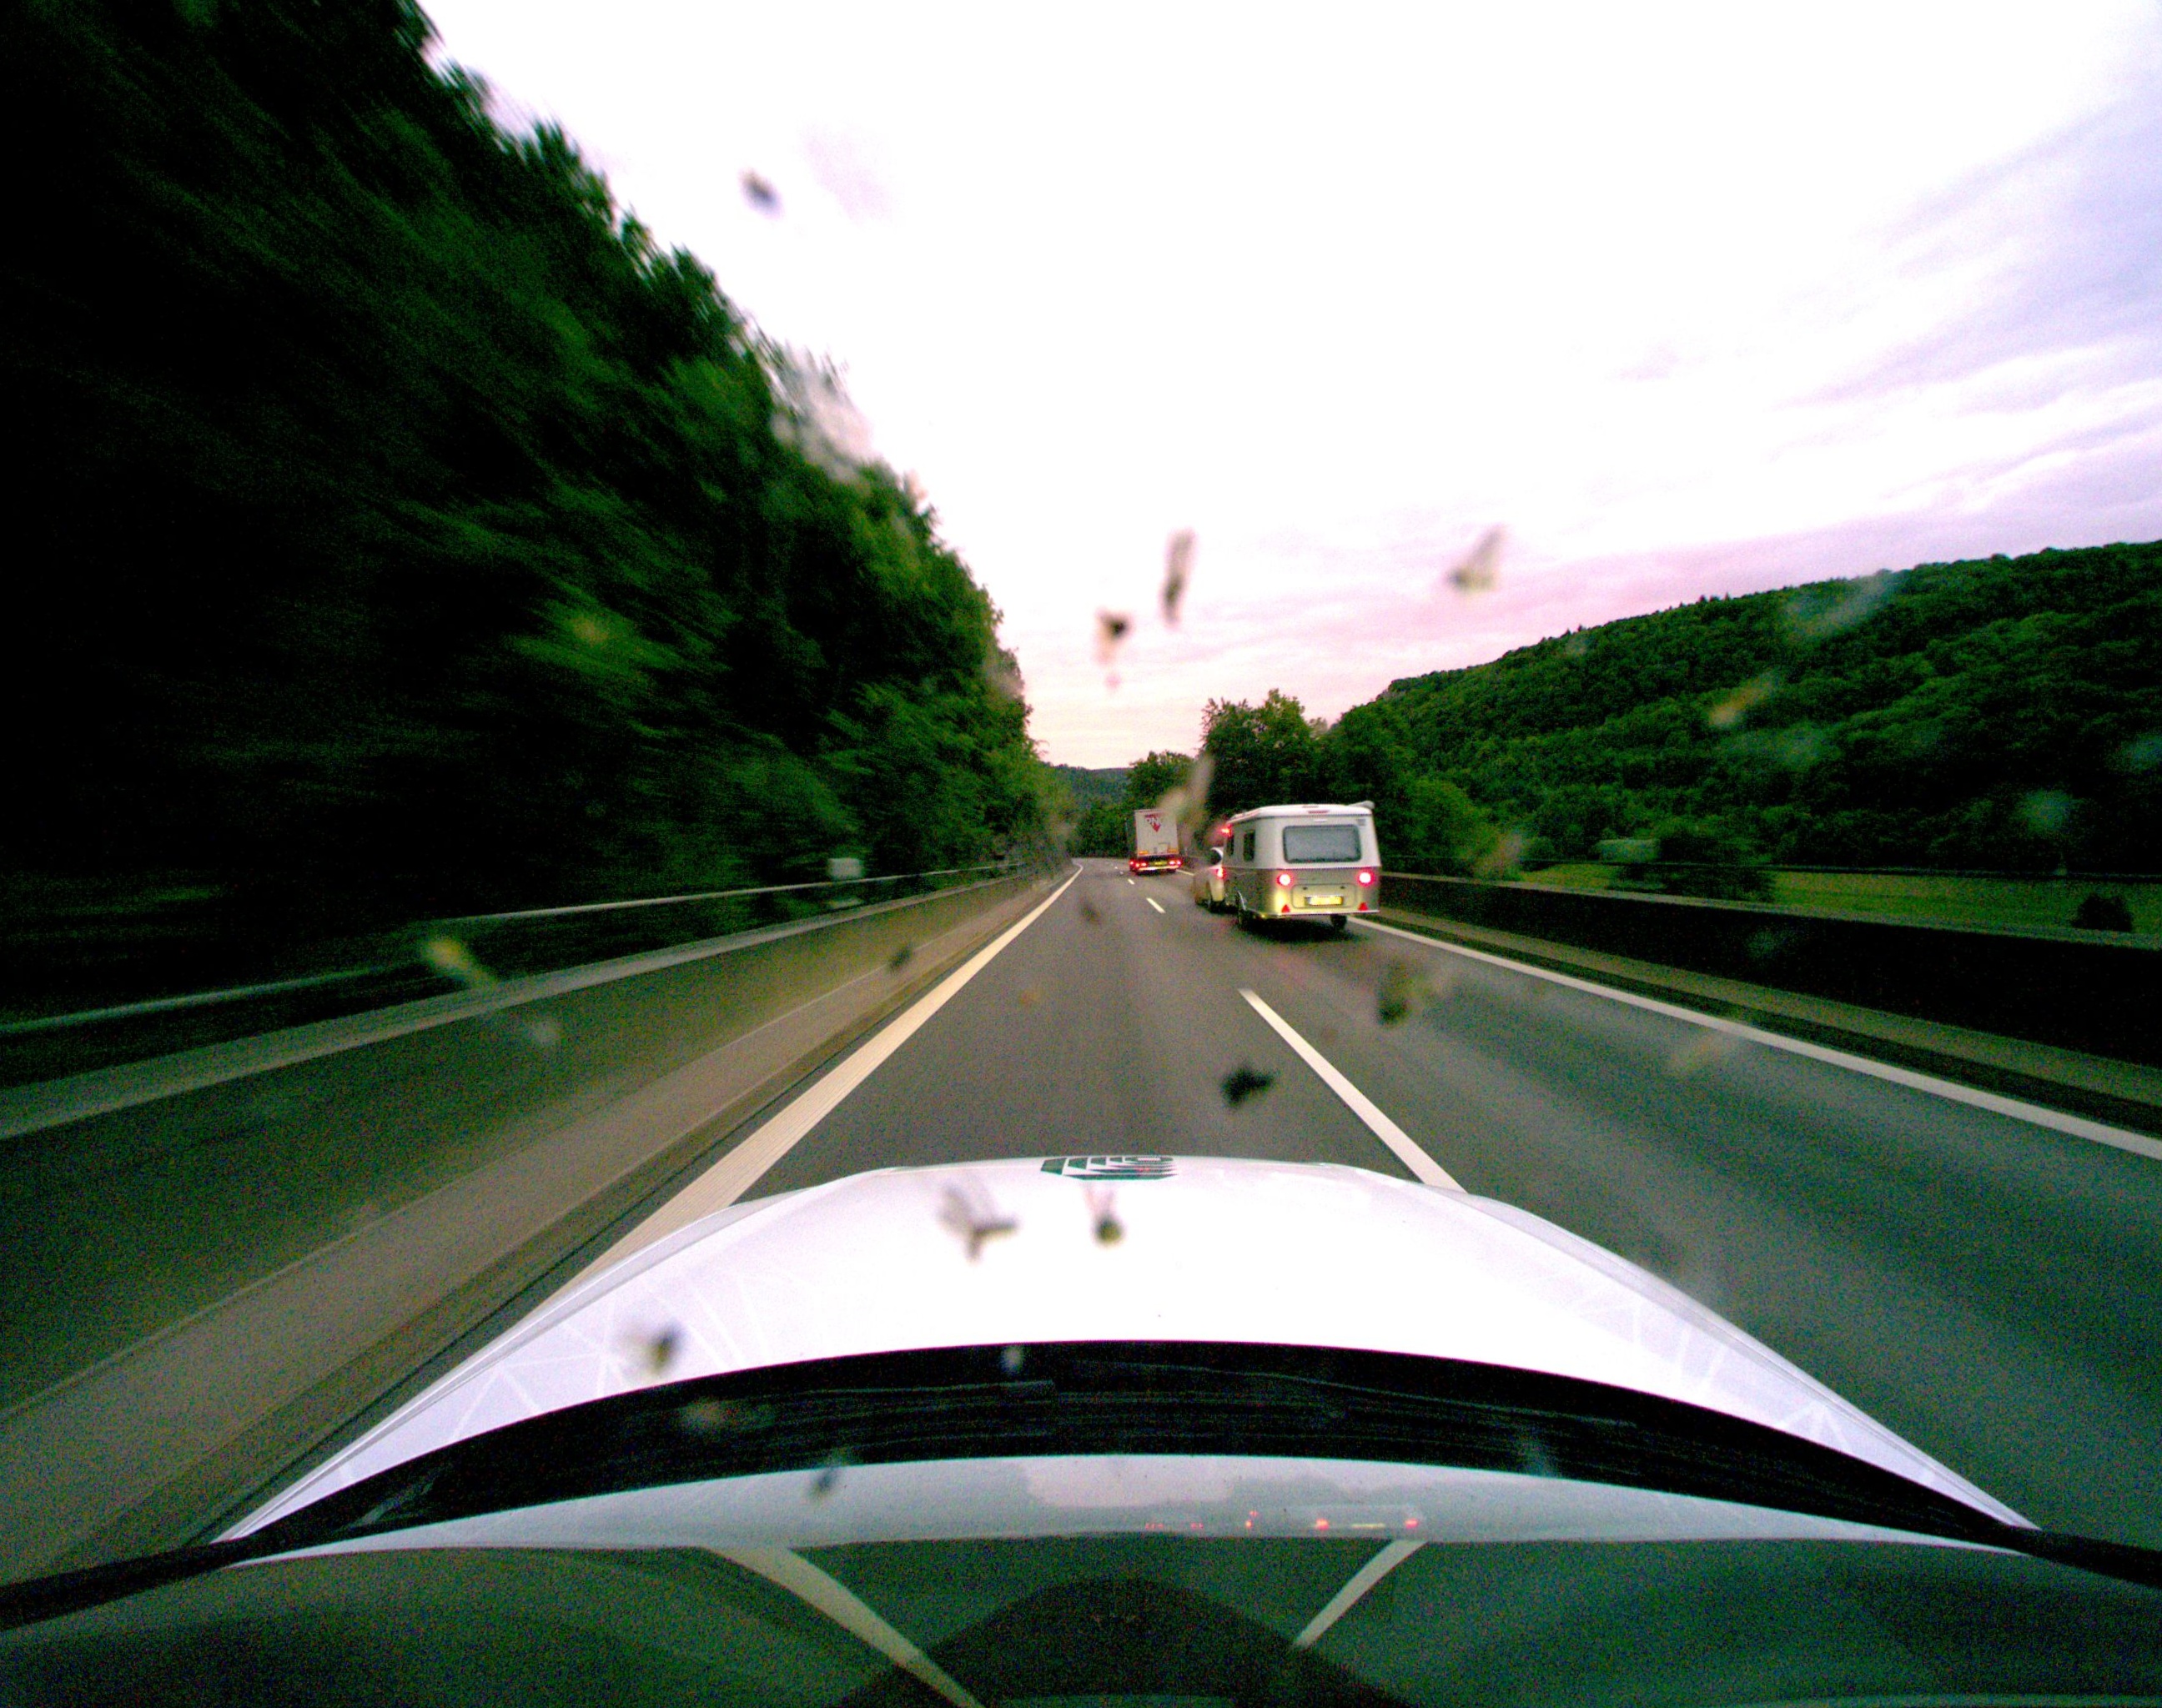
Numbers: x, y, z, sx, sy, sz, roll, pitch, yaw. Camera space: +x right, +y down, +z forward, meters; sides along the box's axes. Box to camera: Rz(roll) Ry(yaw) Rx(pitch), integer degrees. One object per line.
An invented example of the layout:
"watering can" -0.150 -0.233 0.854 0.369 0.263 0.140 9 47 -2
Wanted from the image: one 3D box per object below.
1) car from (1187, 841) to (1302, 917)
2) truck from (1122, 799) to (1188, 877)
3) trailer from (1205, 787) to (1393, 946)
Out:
"car" 4.074 0.582 21.193 1.987 1.614 4.865 -4 0 1
"truck" 4.677 -0.908 55.122 3.282 4.172 16.511 -5 0 2
"trailer" 3.902 0.183 15.848 2.047 2.375 5.939 -4 0 1
